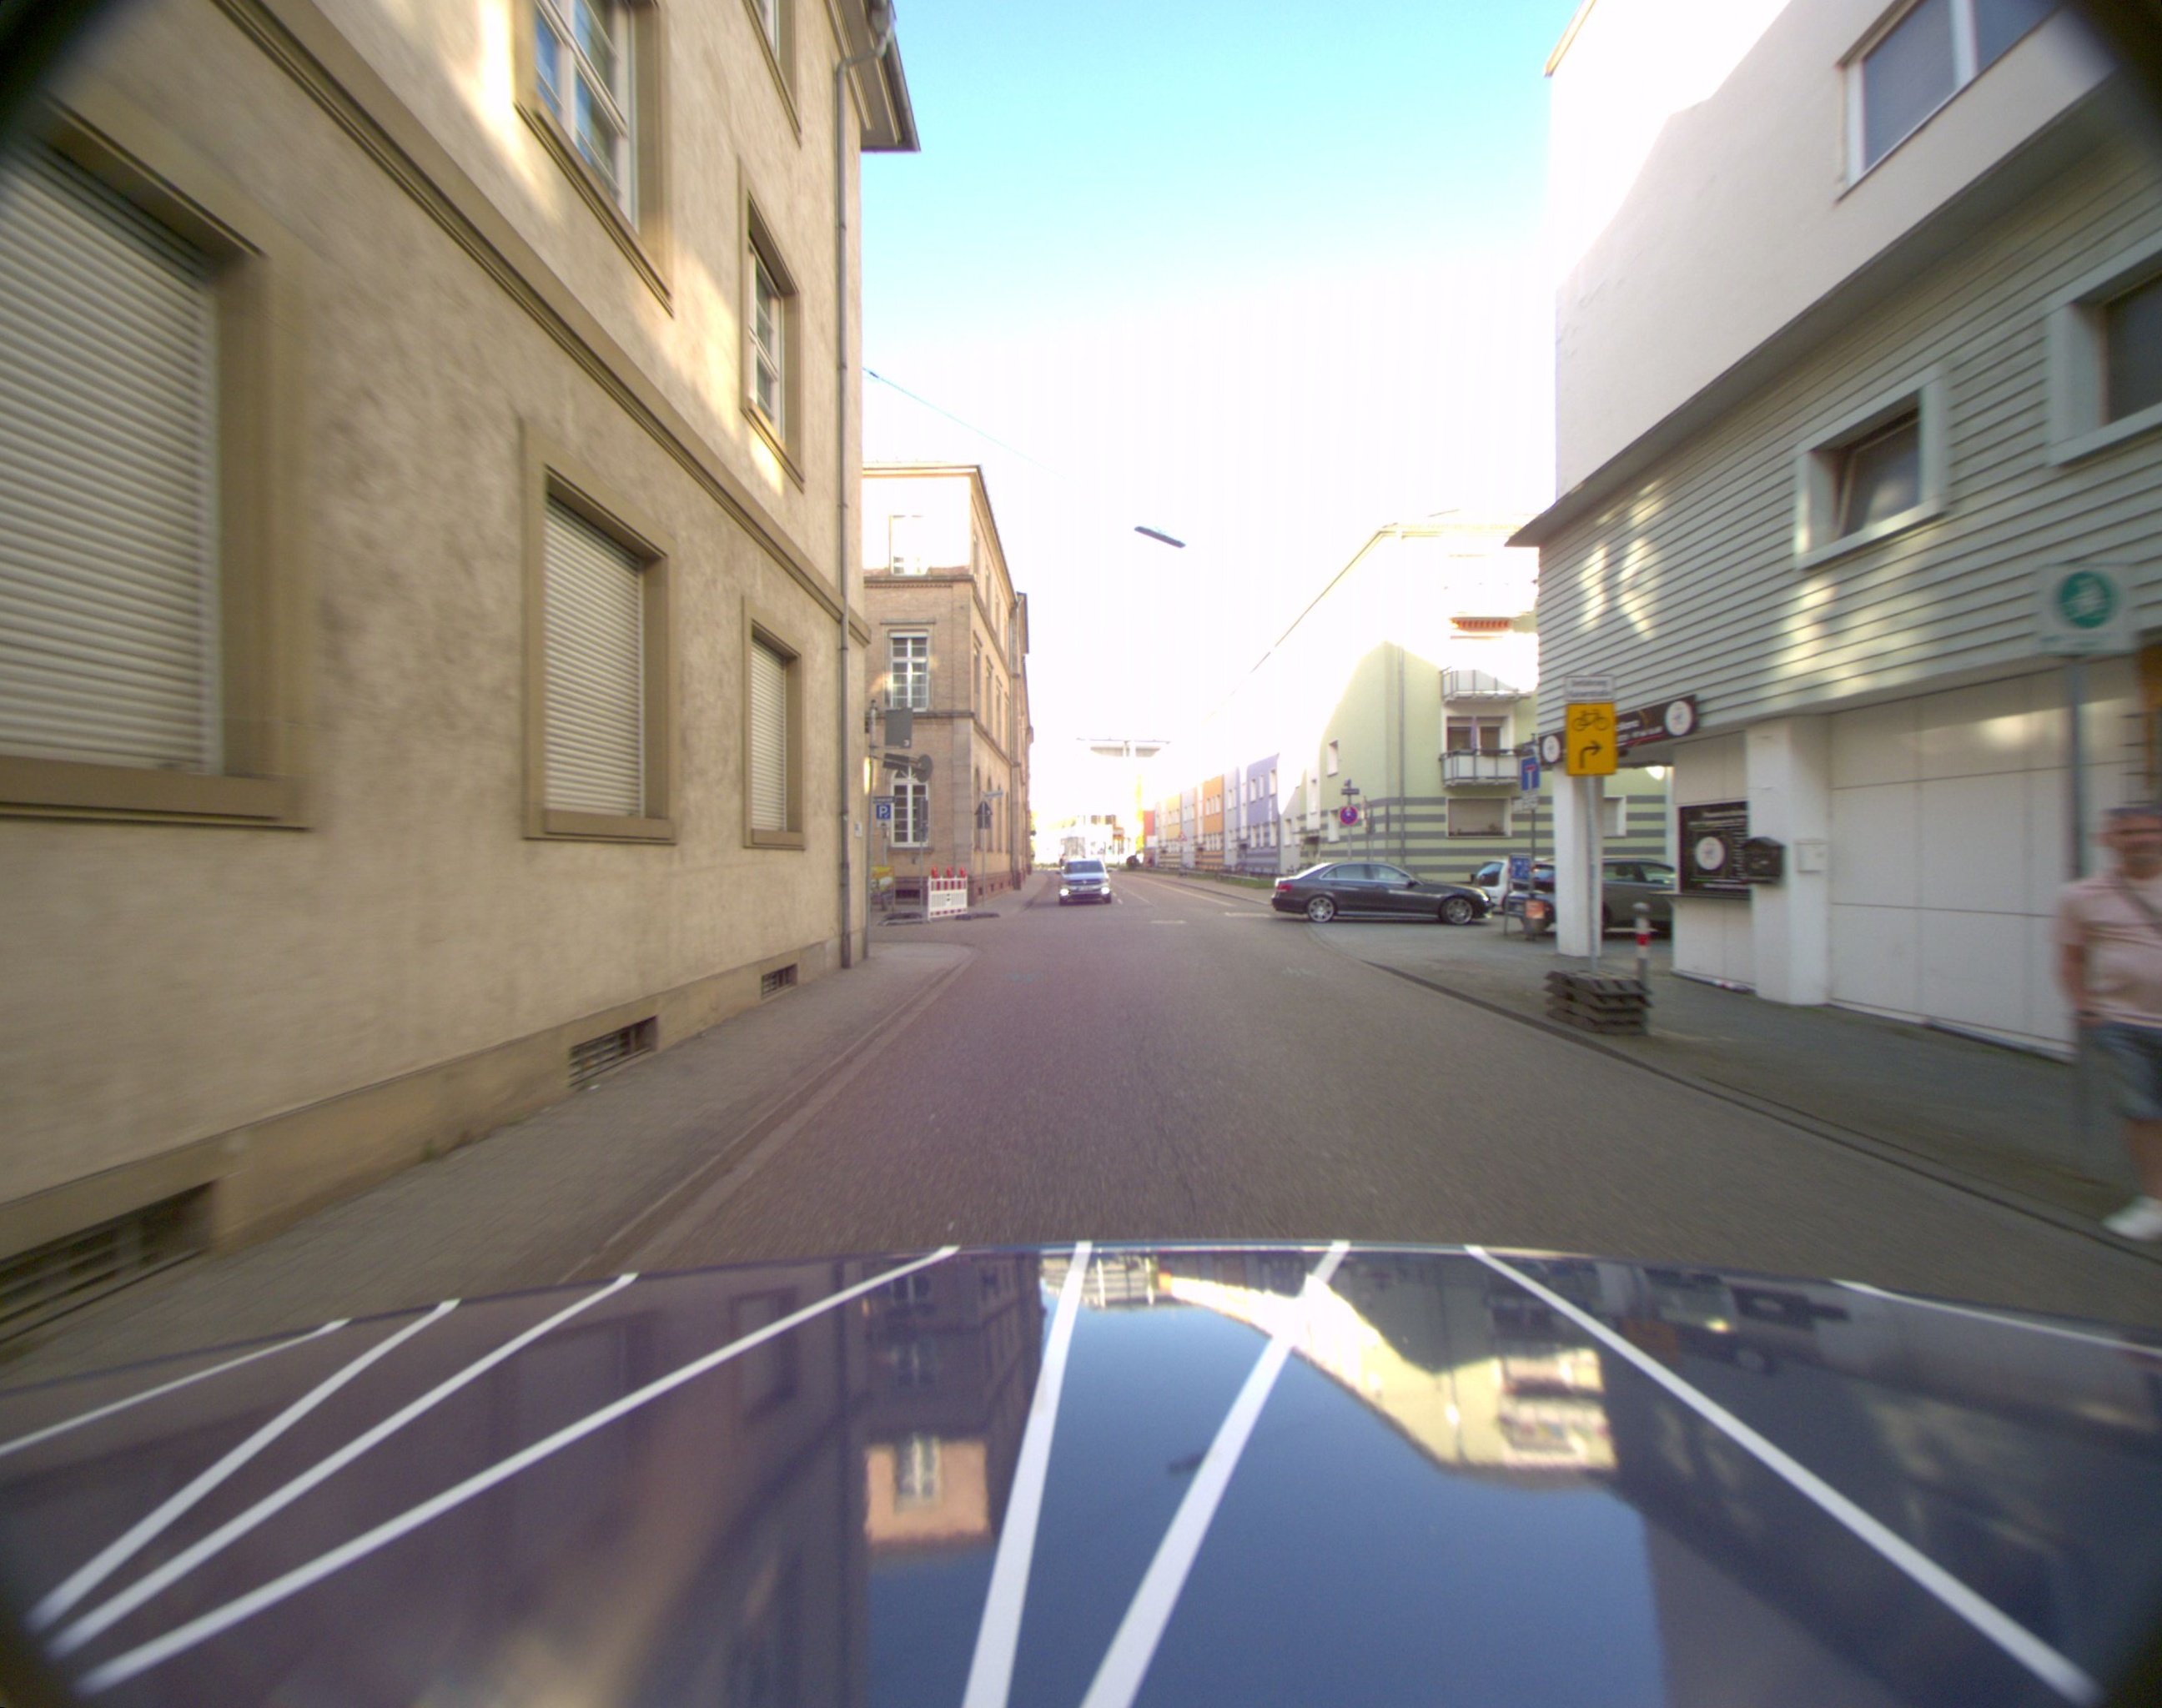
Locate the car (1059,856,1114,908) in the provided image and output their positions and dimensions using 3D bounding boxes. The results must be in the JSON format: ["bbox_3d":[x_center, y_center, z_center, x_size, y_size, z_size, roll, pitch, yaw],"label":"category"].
[{"bbox_3d":[0.141,0.907,26.696,1.683,1.568,4.242,-4,0,-1],"label":"car"}]

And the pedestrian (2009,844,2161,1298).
[{"bbox_3d":[4.178,0.799,2.891,0.494,1.660,0.627,-3,1,-12],"label":"pedestrian"}]

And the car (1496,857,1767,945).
[{"bbox_3d":[10.281,0.841,14.398,3.942,1.511,1.692,-1,0,-1],"label":"car"}]

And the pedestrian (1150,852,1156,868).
[{"bbox_3d":[7.302,0.614,77.033,0.612,1.641,0.447,-1,1,-6],"label":"pedestrian"}]

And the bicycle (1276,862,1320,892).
[{"bbox_3d":[9.141,0.961,32.014,1.738,1.094,0.388,-4,1,-7],"label":"bicycle"}]

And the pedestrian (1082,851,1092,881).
[{"bbox_3d":[0.353,0.727,45.463,0.603,1.770,0.652,-1,0,0],"label":"pedestrian"}]

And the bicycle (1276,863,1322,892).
[{"bbox_3d":[9.059,0.968,31.610,1.738,1.094,0.388,-4,1,-7],"label":"bicycle"}]

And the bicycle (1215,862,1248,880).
[{"bbox_3d":[8.731,0.989,44.086,1.803,0.940,0.388,-4,1,0],"label":"bicycle"}]

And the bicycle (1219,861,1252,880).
[{"bbox_3d":[9.102,0.968,44.777,1.803,0.940,0.388,-4,1,0],"label":"bicycle"}]

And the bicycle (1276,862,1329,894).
[{"bbox_3d":[8.782,0.952,30.175,1.820,1.094,0.749,-4,0,0],"label":"bicycle"}]

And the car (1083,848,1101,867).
[{"bbox_3d":[1.143,0.376,79.728,1.683,1.776,4.242,-4,0,0],"label":"car"}]

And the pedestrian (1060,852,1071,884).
[{"bbox_3d":[-0.942,0.841,46.173,0.677,1.928,0.858,-1,0,0],"label":"pedestrian"}]

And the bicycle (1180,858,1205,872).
[{"bbox_3d":[8.903,0.882,60.753,1.807,0.977,0.654,-5,1,-3],"label":"bicycle"}]

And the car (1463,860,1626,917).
[{"bbox_3d":[12.303,0.882,20.314,3.342,1.428,1.725,-1,0,-1],"label":"car"}]

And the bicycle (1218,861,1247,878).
[{"bbox_3d":[9.260,0.946,46.438,1.657,0.940,0.388,-4,1,0],"label":"bicycle"}]

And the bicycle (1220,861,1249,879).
[{"bbox_3d":[9.301,0.951,46.031,1.657,0.940,0.388,-4,1,0],"label":"bicycle"}]

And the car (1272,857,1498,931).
[{"bbox_3d":[6.948,0.857,17.738,4.660,1.471,1.788,0,3,20],"label":"car"}]
